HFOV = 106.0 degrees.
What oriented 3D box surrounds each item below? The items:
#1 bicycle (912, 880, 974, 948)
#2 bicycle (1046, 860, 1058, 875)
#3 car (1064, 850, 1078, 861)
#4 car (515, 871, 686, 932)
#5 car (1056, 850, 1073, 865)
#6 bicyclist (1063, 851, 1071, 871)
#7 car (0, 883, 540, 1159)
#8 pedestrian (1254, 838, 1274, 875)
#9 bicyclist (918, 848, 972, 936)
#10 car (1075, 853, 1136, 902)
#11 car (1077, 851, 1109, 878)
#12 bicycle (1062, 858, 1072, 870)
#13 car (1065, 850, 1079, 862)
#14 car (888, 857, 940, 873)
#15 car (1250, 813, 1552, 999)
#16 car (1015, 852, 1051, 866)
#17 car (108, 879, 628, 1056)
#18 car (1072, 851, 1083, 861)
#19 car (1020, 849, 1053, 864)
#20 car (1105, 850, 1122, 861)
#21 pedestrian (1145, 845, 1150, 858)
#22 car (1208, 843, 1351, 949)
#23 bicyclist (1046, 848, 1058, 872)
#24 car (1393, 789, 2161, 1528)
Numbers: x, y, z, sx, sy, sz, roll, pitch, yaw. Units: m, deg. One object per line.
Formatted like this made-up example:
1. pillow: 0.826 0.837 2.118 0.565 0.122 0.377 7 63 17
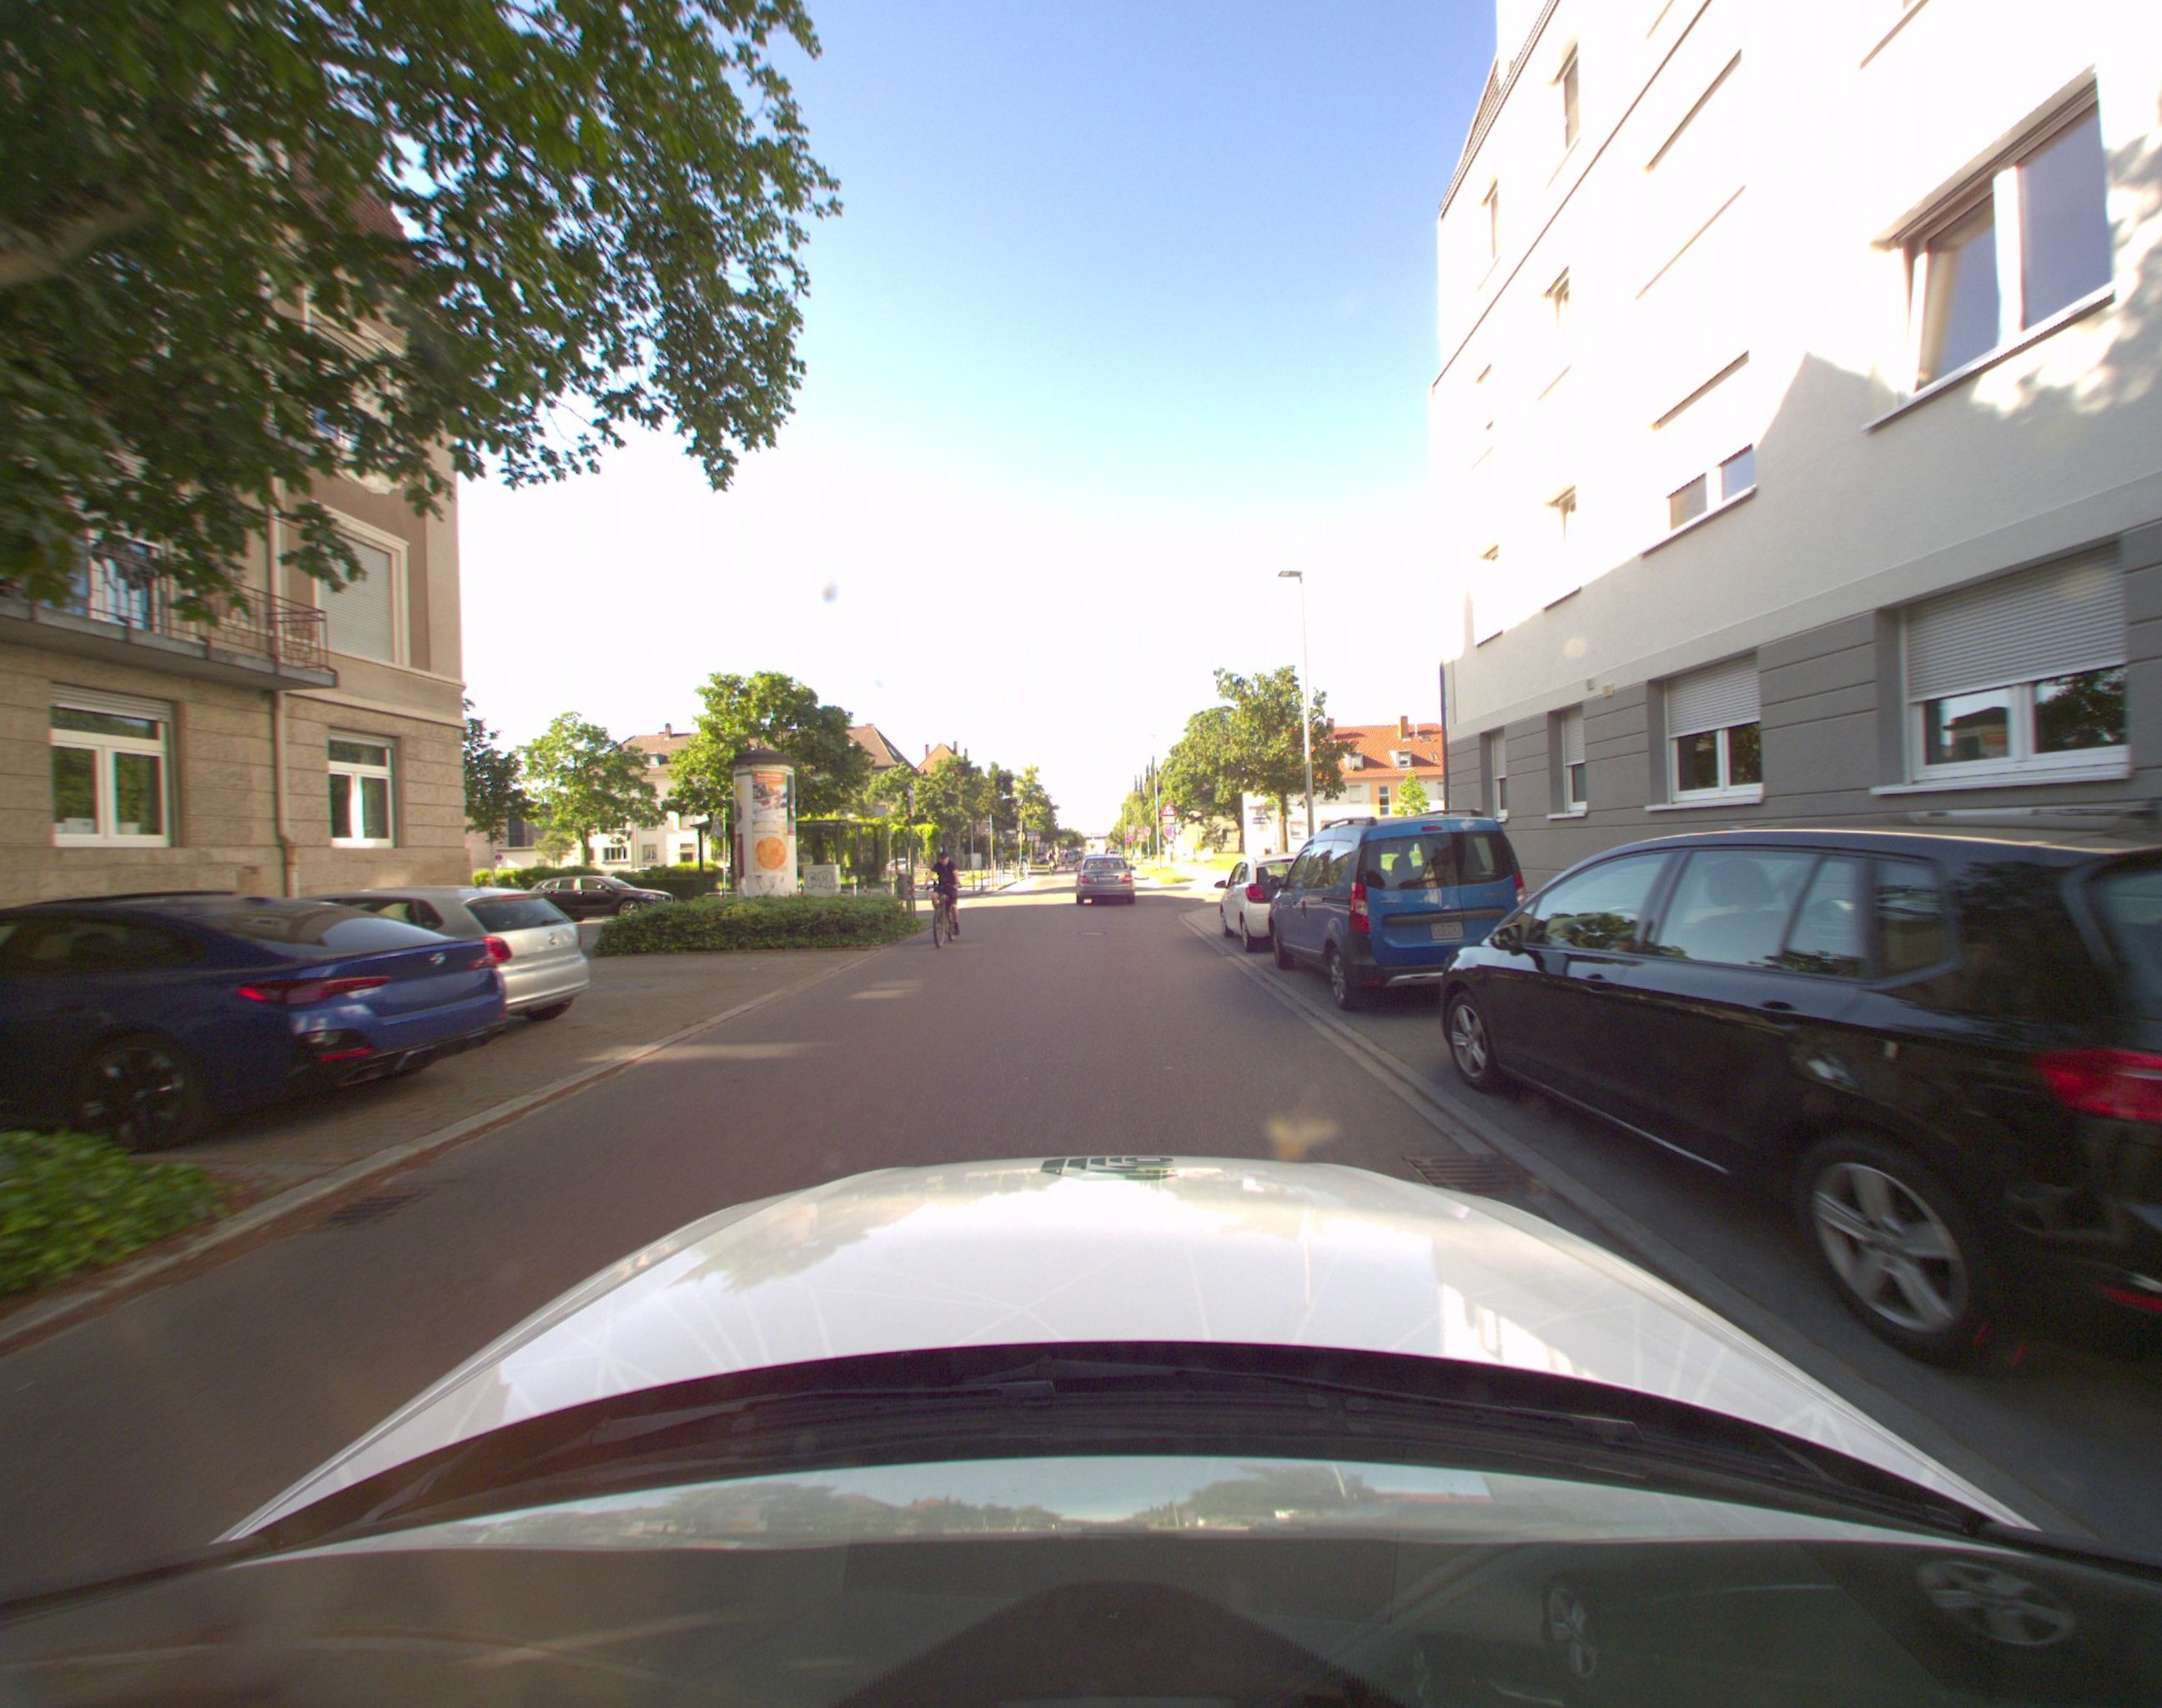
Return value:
1. bicycle: -2.511 1.076 15.057 0.717 1.079 1.891 -3 0 2
2. bicycle: -1.892 0.875 53.796 0.587 0.931 1.851 -2 0 3
3. car: -1.463 0.243 119.624 1.783 1.532 3.995 -1 0 -3
4. car: -14.893 1.515 25.418 4.122 1.486 1.806 -2 -12 2
5. car: -1.992 0.403 96.080 1.869 1.728 3.995 -2 0 -3
6. bicyclist: -1.112 0.567 63.777 0.569 1.509 0.655 -2 0 2
7. car: -6.540 0.992 5.506 4.460 1.479 1.868 -1 -1 -1
8. pedestrian: 8.275 0.119 36.815 0.640 1.623 0.621 -2 0 39
9. bicyclist: -2.489 0.675 15.019 0.718 1.537 1.137 -3 0 1
10. car: 0.778 0.706 25.253 1.720 1.420 3.962 0 -1 2
11. car: 0.652 0.585 45.235 1.701 1.448 4.202 0 -1 1
12. bicycle: -1.100 0.764 63.763 0.587 0.931 1.851 -2 0 3
13. car: -1.243 0.274 114.605 1.783 1.532 3.995 -1 0 -3
14. car: -14.031 0.939 68.750 3.976 1.376 1.998 0 -1 -2
15. car: 3.200 0.485 9.160 1.676 1.435 4.266 -6 -1 1
16. car: -5.338 0.545 91.119 3.976 1.524 1.755 0 -1 -2
17. car: -6.764 1.027 8.036 3.567 1.430 1.731 -1 0 0
18. car: -0.614 0.342 139.343 1.783 1.532 3.995 -2 0 -3
19. car: -4.883 0.291 88.561 3.489 1.533 1.642 -1 0 -6
20. car: 3.881 0.186 98.536 1.718 1.330 3.995 -1 0 -3
21. pedestrian: 8.337 -0.312 102.109 0.508 1.559 0.643 0 -1 2
22. car: 3.231 0.656 13.938 1.558 1.410 3.732 -6 -1 2
23. bicyclist: -1.920 0.380 53.755 0.678 1.509 0.655 -2 0 2
24. car: 3.133 0.592 3.813 1.730 1.531 4.179 -4 0 1
